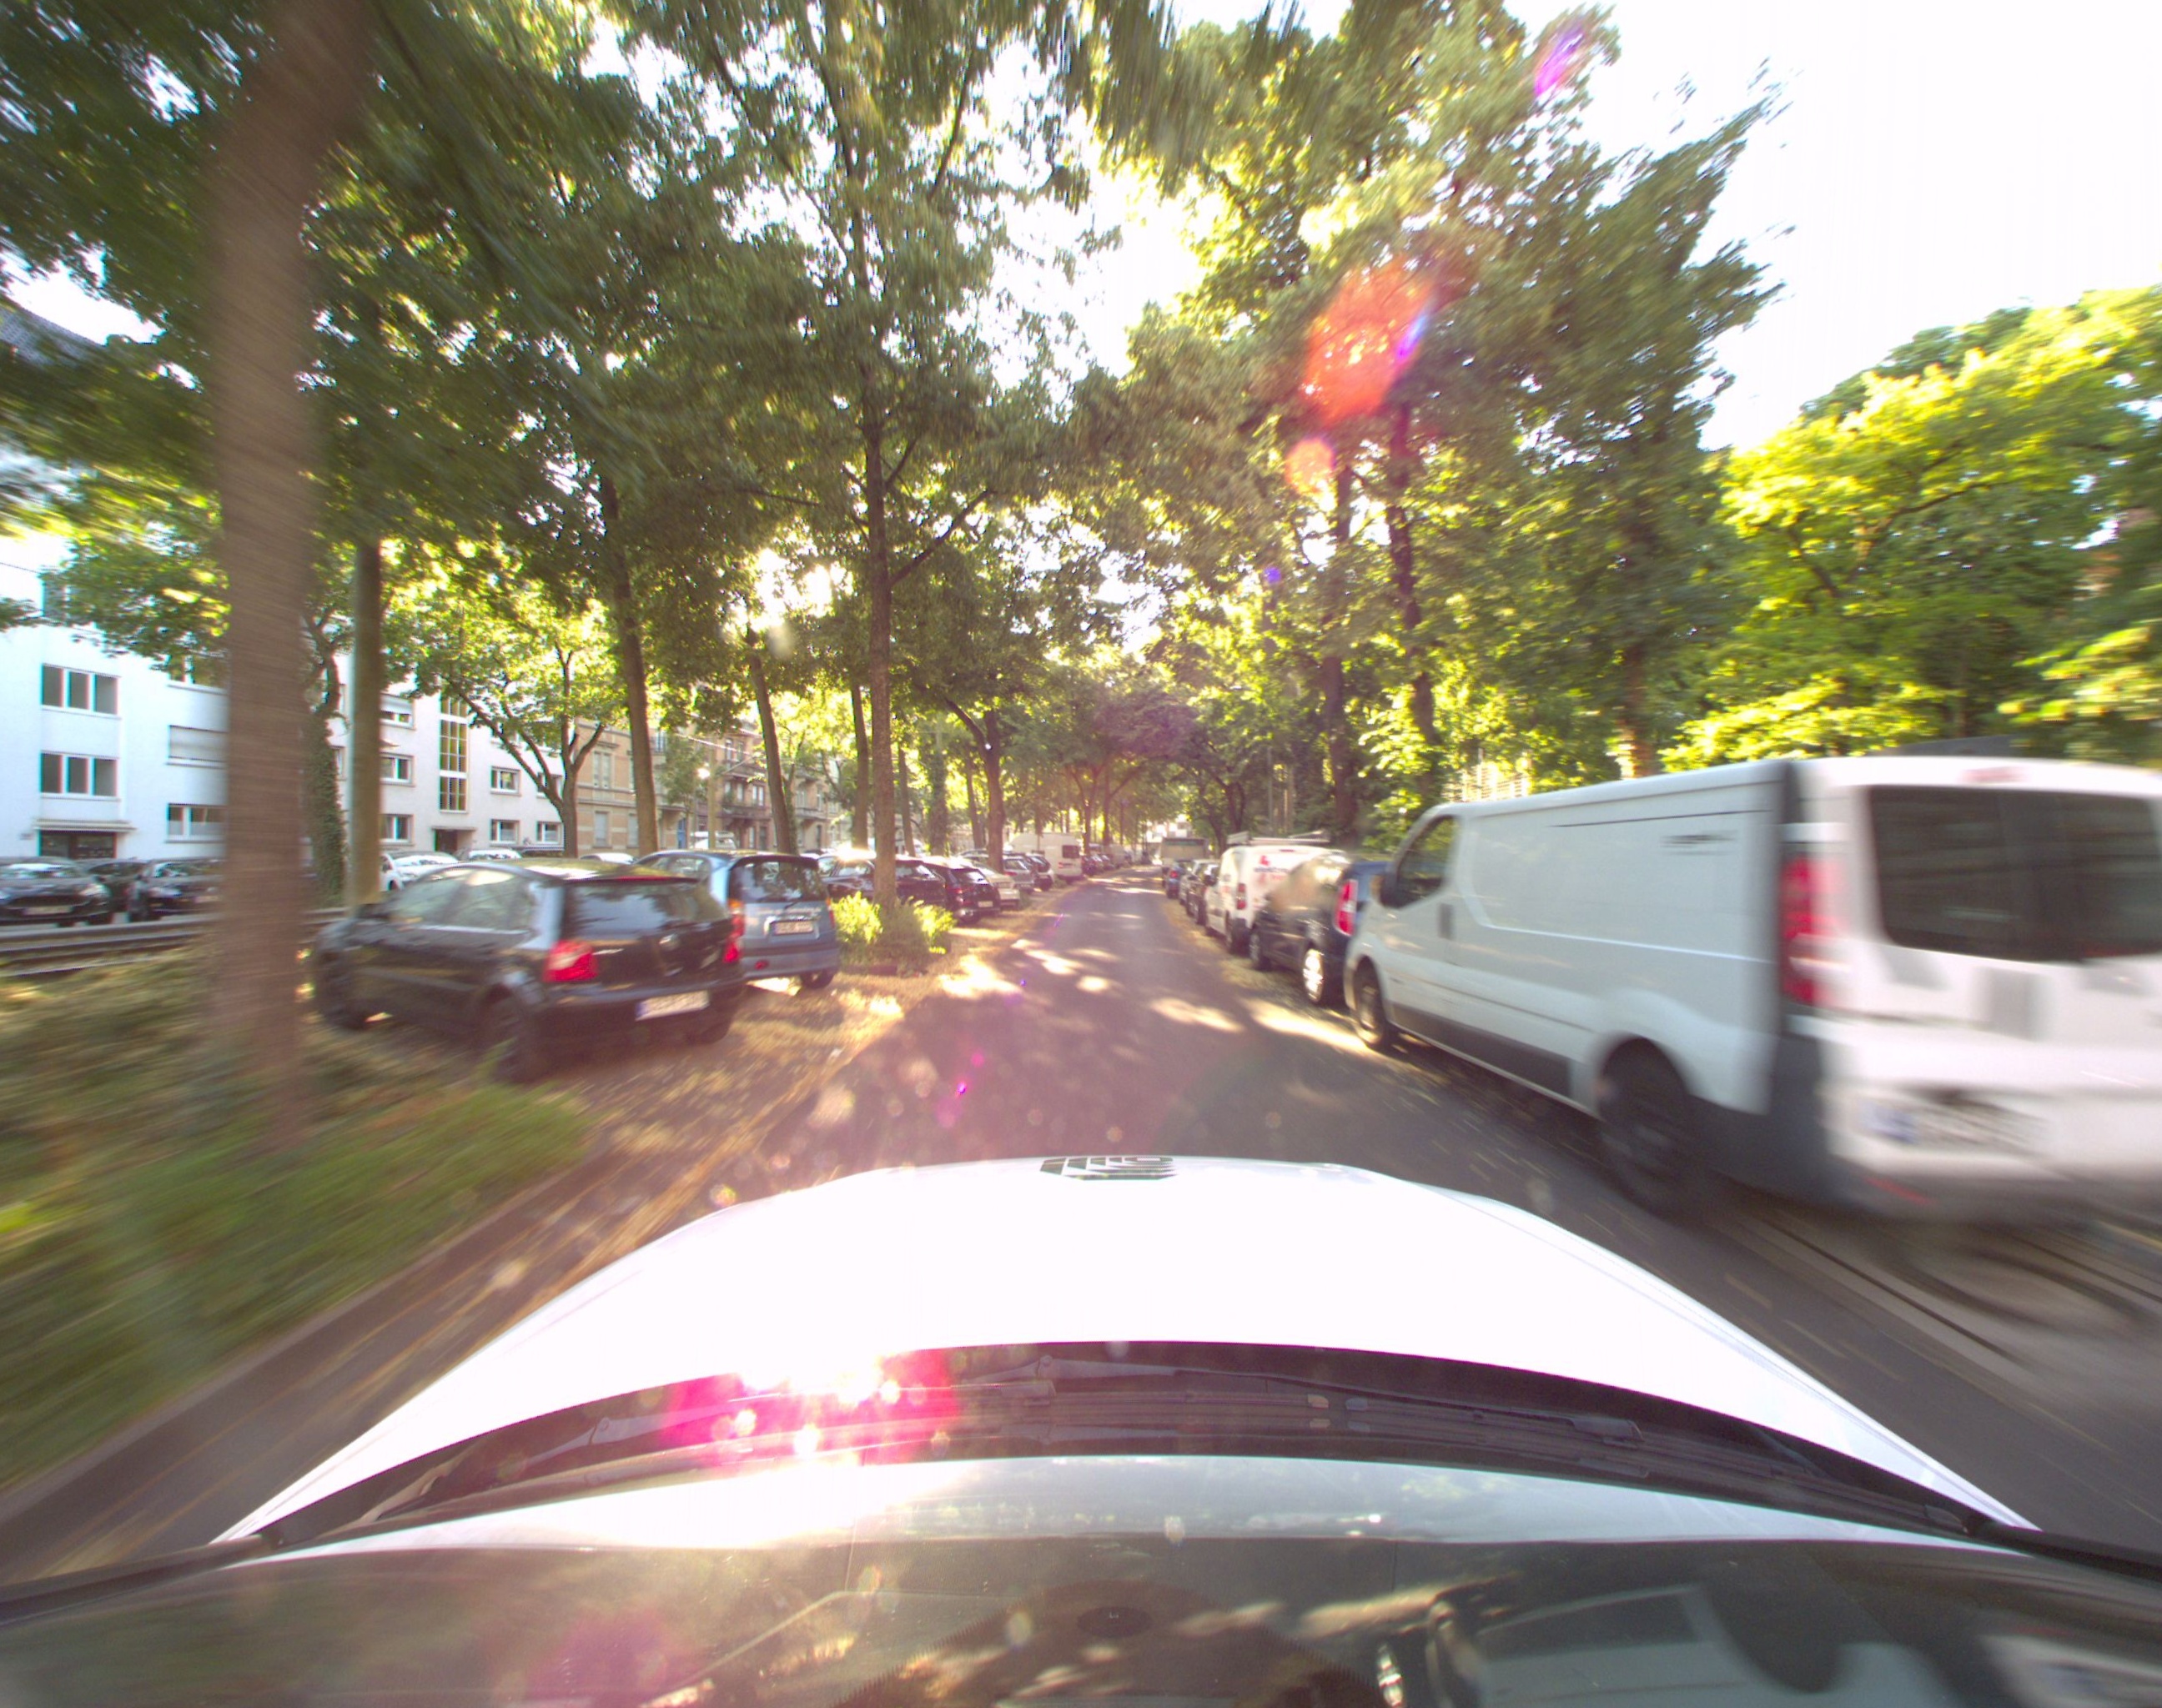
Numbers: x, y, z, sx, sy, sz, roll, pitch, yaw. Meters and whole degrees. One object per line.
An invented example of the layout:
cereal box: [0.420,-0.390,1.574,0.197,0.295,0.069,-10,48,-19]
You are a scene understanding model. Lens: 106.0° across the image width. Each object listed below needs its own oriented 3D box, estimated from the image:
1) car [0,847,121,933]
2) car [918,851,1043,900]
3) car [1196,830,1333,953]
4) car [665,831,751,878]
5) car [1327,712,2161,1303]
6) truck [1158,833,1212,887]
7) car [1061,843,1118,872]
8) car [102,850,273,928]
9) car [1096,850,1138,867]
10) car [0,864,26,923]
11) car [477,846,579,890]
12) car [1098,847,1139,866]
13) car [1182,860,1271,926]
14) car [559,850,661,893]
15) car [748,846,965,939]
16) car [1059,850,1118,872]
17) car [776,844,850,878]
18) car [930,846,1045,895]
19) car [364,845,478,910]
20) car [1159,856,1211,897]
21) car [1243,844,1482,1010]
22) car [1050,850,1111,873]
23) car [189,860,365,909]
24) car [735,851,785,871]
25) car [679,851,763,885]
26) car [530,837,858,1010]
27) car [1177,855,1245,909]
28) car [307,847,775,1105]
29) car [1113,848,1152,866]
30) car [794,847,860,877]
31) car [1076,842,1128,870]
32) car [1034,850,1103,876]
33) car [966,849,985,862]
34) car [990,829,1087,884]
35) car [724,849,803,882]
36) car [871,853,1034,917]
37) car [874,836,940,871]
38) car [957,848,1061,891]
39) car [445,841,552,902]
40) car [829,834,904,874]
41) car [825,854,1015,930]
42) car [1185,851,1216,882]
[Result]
car: [-20.240,0.743,15.568,4.187,1.458,1.618,-4,-1,29]
car: [-3.394,0.699,27.595,3.783,1.421,1.747,3,0,24]
car: [3.124,0.574,14.588,1.566,1.903,3.901,0,0,0]
car: [-24.557,0.006,53.900,2.538,2.887,5.493,-1,0,8]
car: [3.328,0.508,5.152,1.940,2.003,4.654,0,0,-3]
truck: [4.759,0.260,37.769,2.355,2.352,4.390,0,0,5]
car: [0.653,0.233,63.685,4.040,2.040,1.831,3,0,36]
car: [-20.007,0.797,18.210,4.187,1.458,1.618,-4,-1,29]
car: [3.745,0.457,85.259,4.040,1.473,1.831,3,0,36]
car: [-27.822,1.019,18.714,1.701,1.446,4.009,-1,0,8]
car: [-26.054,0.616,38.548,1.701,1.932,4.009,-1,0,8]
car: [4.051,0.285,88.134,4.040,1.789,1.831,3,0,36]
car: [3.390,0.855,19.507,1.565,1.386,3.602,0,0,1]
car: [-19.364,0.724,33.457,4.186,1.473,1.870,-4,-1,33]
car: [-4.421,0.690,16.033,3.783,1.497,1.747,3,0,24]
car: [0.540,0.533,61.180,4.040,1.473,1.831,3,0,36]
car: [-15.952,0.438,48.396,4.186,1.699,1.870,-4,-1,33]
car: [-3.473,0.590,30.312,3.783,1.587,1.747,3,0,24]
car: [-19.652,0.726,24.192,4.186,1.651,1.869,-4,-1,41]
car: [3.770,0.787,29.953,1.565,1.385,3.602,0,0,1]
car: [3.153,0.710,9.903,1.567,1.637,3.710,0,0,-1]
car: [-0.066,0.532,58.554,4.040,1.473,1.831,3,0,36]
car: [-27.064,0.976,27.621,1.701,1.446,4.009,-1,0,8]
car: [-24.039,0.509,61.088,1.701,1.446,4.009,-1,0,8]
car: [-18.490,0.730,41.802,4.186,1.473,1.870,-4,-1,33]
car: [-4.548,0.659,9.508,3.573,1.562,1.617,3,1,29]
car: [3.805,0.787,24.339,1.565,1.467,3.602,0,0,1]
car: [-4.409,0.748,6.590,3.574,1.447,1.617,3,1,28]
car: [5.912,0.312,93.522,4.040,1.789,1.831,3,0,36]
car: [-16.765,0.547,53.694,4.186,1.699,1.870,-4,-1,33]
car: [1.823,0.141,69.861,4.040,2.210,1.831,3,0,36]
car: [-0.798,0.560,51.691,4.040,1.473,1.831,3,0,36]
car: [-16.089,0.237,124.482,1.700,1.820,4.011,-1,0,9]
car: [-2.100,0.104,39.831,4.443,2.476,1.831,3,0,36]
car: [-17.360,0.639,44.524,4.186,1.473,1.870,-4,-1,33]
car: [-3.358,0.768,21.314,3.783,1.391,1.747,3,0,24]
car: [-14.590,-0.028,68.325,5.200,2.571,2.288,-4,-1,33]
car: [-2.948,0.620,33.354,3.783,1.481,1.747,3,0,24]
car: [-19.254,0.609,26.857,4.186,1.749,1.869,-4,-1,41]
car: [-15.759,-0.010,59.747,5.200,2.571,2.288,-4,-1,33]
car: [-3.616,0.798,18.293,3.783,1.391,1.747,3,0,24]
car: [6.491,0.644,44.337,1.562,1.648,3.608,0,0,8]
